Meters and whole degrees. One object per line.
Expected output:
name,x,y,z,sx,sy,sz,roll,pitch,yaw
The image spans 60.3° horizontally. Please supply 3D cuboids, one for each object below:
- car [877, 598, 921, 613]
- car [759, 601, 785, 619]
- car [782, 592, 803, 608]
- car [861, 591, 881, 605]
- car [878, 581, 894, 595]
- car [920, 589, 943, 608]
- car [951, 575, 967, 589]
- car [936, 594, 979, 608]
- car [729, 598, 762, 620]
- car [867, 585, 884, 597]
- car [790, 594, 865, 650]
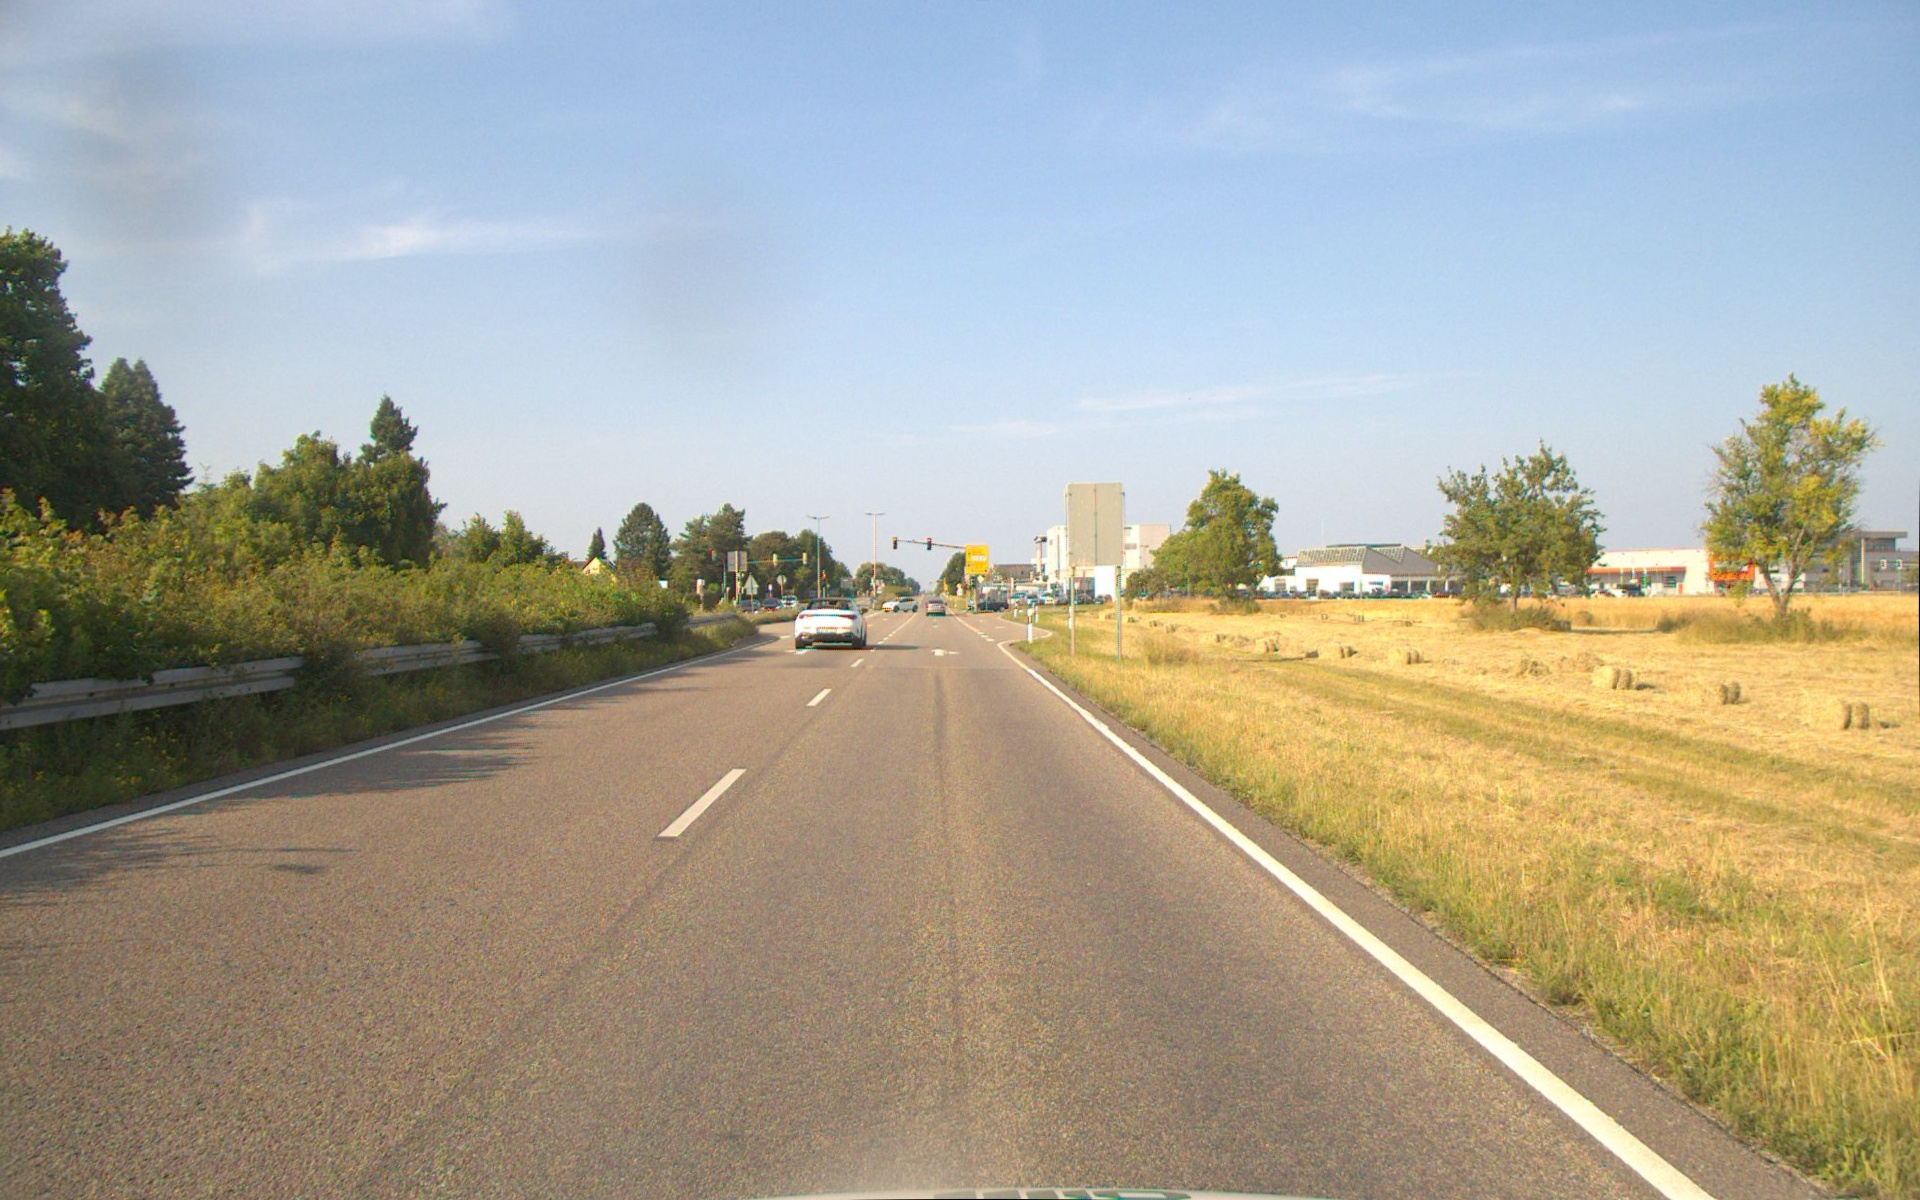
car,-6.111,0.584,165.725,3.957,1.432,1.929,0,0,-37
car,-15.546,0.799,136.911,1.694,1.432,4.000,1,0,0
car,-18.727,-0.004,184.725,1.908,1.831,4.000,1,0,0
car,-9.541,-0.221,178.041,1.908,1.432,4.000,1,0,0
car,-9.662,-1.610,217.026,1.908,1.803,4.000,1,0,0
car,-2.474,-0.139,143.241,1.953,1.512,3.999,1,0,-2
car,-0.113,-2.311,217.118,1.953,1.787,4.000,1,0,0
car,-0.253,0.113,167.146,3.929,1.432,1.942,1,0,-21
car,-15.336,0.645,118.421,1.953,1.512,4.225,1,0,-2
car,-10.358,-1.099,202.793,1.908,1.432,4.000,1,0,0
car,-3.636,0.588,45.988,1.871,1.447,3.999,1,0,-2
